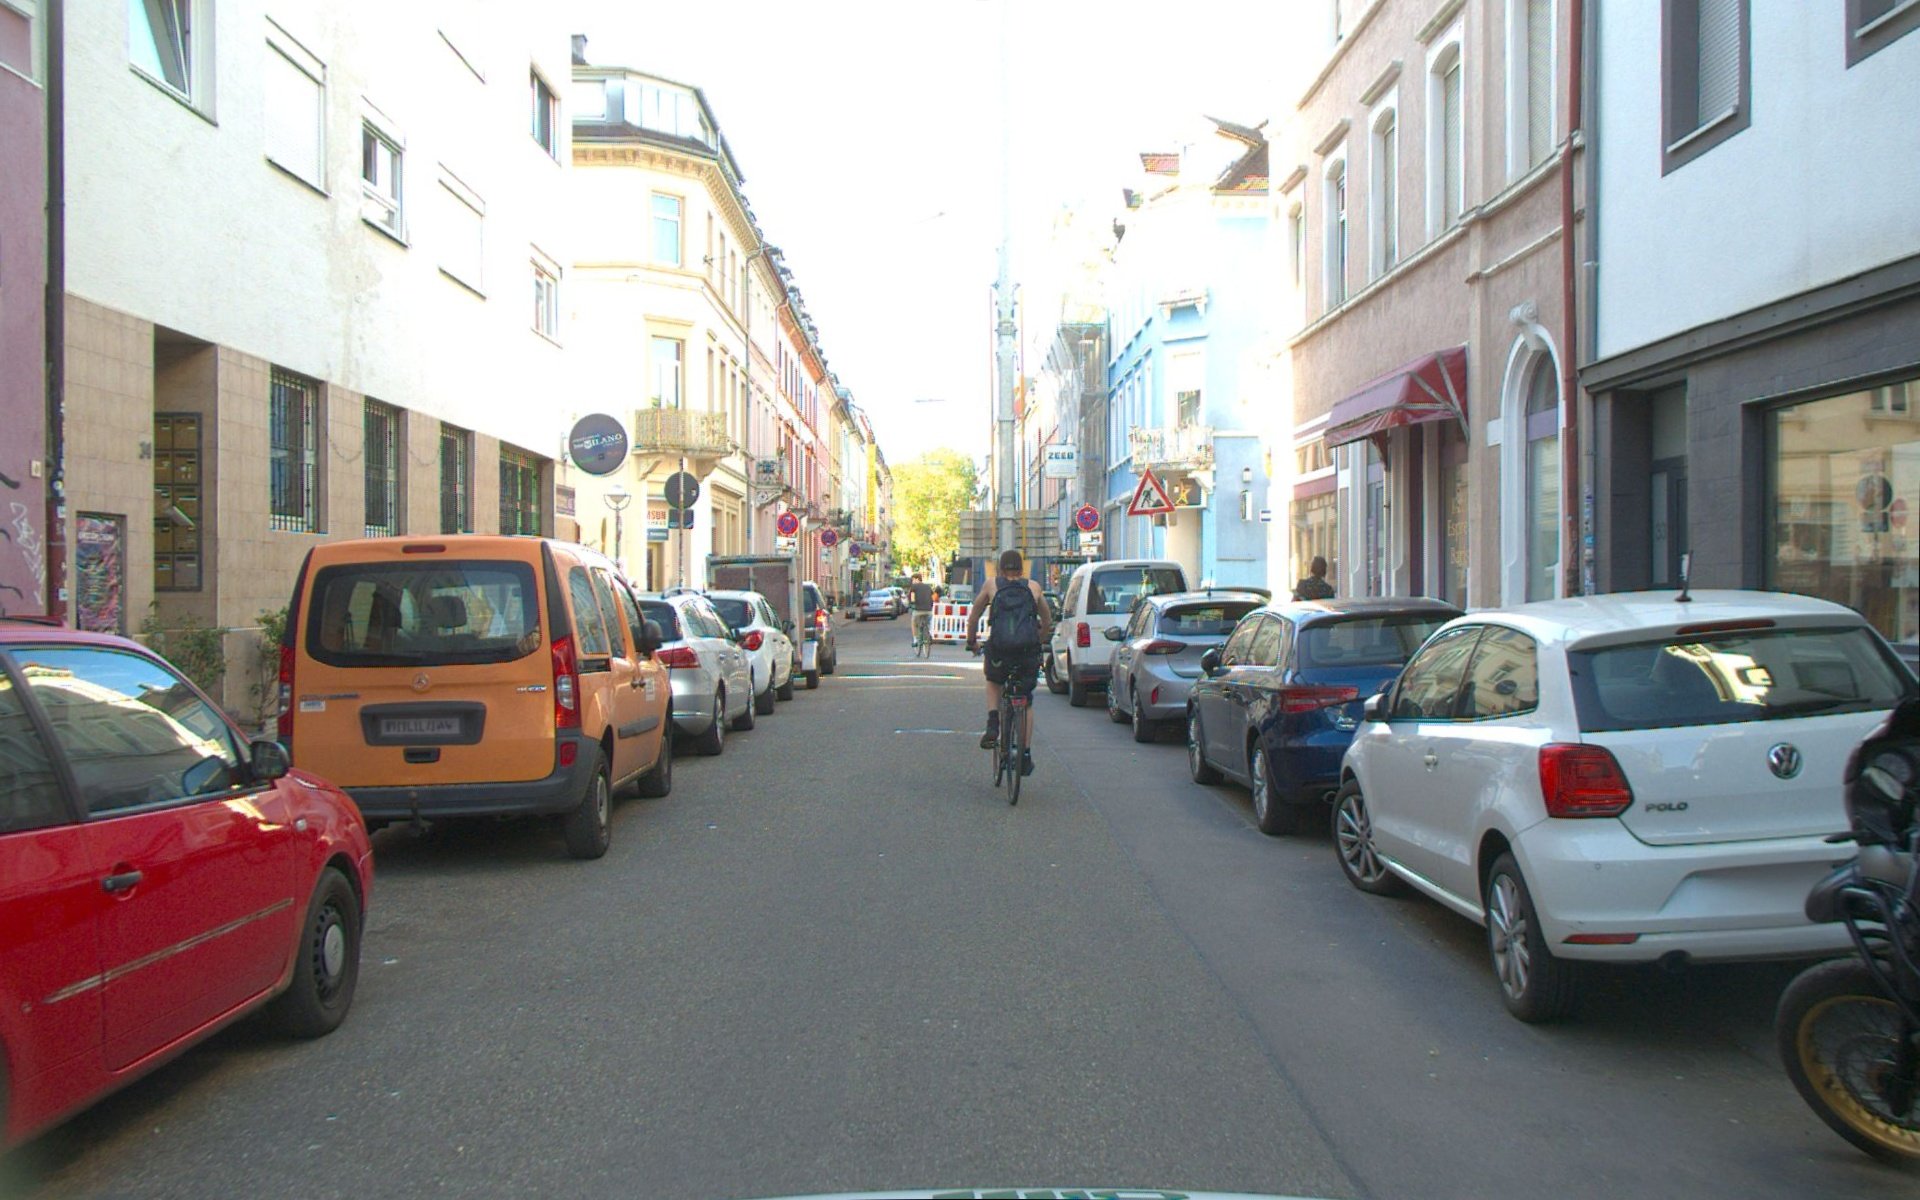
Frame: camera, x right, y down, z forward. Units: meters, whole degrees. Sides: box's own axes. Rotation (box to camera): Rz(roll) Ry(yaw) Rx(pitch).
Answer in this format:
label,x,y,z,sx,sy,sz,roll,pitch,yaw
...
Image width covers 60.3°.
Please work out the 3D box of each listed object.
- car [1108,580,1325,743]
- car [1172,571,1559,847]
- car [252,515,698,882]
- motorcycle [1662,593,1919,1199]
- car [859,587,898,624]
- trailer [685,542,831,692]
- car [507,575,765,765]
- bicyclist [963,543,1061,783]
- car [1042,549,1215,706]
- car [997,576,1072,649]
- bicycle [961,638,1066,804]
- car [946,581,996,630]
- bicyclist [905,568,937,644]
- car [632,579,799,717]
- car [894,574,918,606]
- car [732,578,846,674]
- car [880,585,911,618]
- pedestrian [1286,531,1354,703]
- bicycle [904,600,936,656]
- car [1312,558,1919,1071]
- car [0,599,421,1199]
label,x,y,z,sx,sy,sz,roll,pitch,yaw
car,2.605,0.586,17.582,1.714,1.513,3.800,-1,0,0
car,2.647,0.643,11.735,1.613,1.500,3.970,-4,0,-1
car,-2.856,0.517,10.686,1.717,1.848,4.077,-2,0,-2
motorcycle,2.418,0.748,3.588,0.731,1.516,2.421,1,0,-1
car,-3.897,0.262,79.145,1.714,1.713,3.795,-1,0,-1
trailer,-3.069,0.246,25.824,1.844,2.129,3.736,-1,0,-1
car,-2.984,0.592,16.121,1.714,1.564,4.318,-1,0,-1
bicyclist,0.371,0.453,12.406,0.654,1.706,1.097,1,0,-2
car,2.201,0.346,22.638,1.715,1.911,3.970,-1,0,-3
car,1.761,0.290,40.093,1.578,1.662,3.609,1,0,-1
bicycle,0.371,0.855,12.377,0.663,1.093,1.941,1,0,-1
car,0.337,0.174,56.223,1.578,1.587,3.609,1,0,-1
bicyclist,-0.838,0.136,35.266,0.657,1.595,0.716,1,0,-1
car,-3.011,0.556,21.013,1.620,1.564,3.633,-1,0,-1
car,-4.078,-0.763,125.407,1.714,2.358,3.795,-1,0,-1
car,-3.034,0.445,30.058,1.714,1.600,3.795,-1,0,-1
car,-3.748,0.073,96.827,1.714,1.853,3.795,-1,0,-1
pedestrian,4.378,0.201,20.173,0.631,2.049,0.763,1,0,-1
bicycle,-0.836,0.583,35.058,0.635,1.149,2.135,1,0,-1
car,2.760,0.658,7.071,1.633,1.531,3.816,-3,0,0
car,-2.863,0.783,4.642,1.546,1.509,3.564,-2,0,-1
